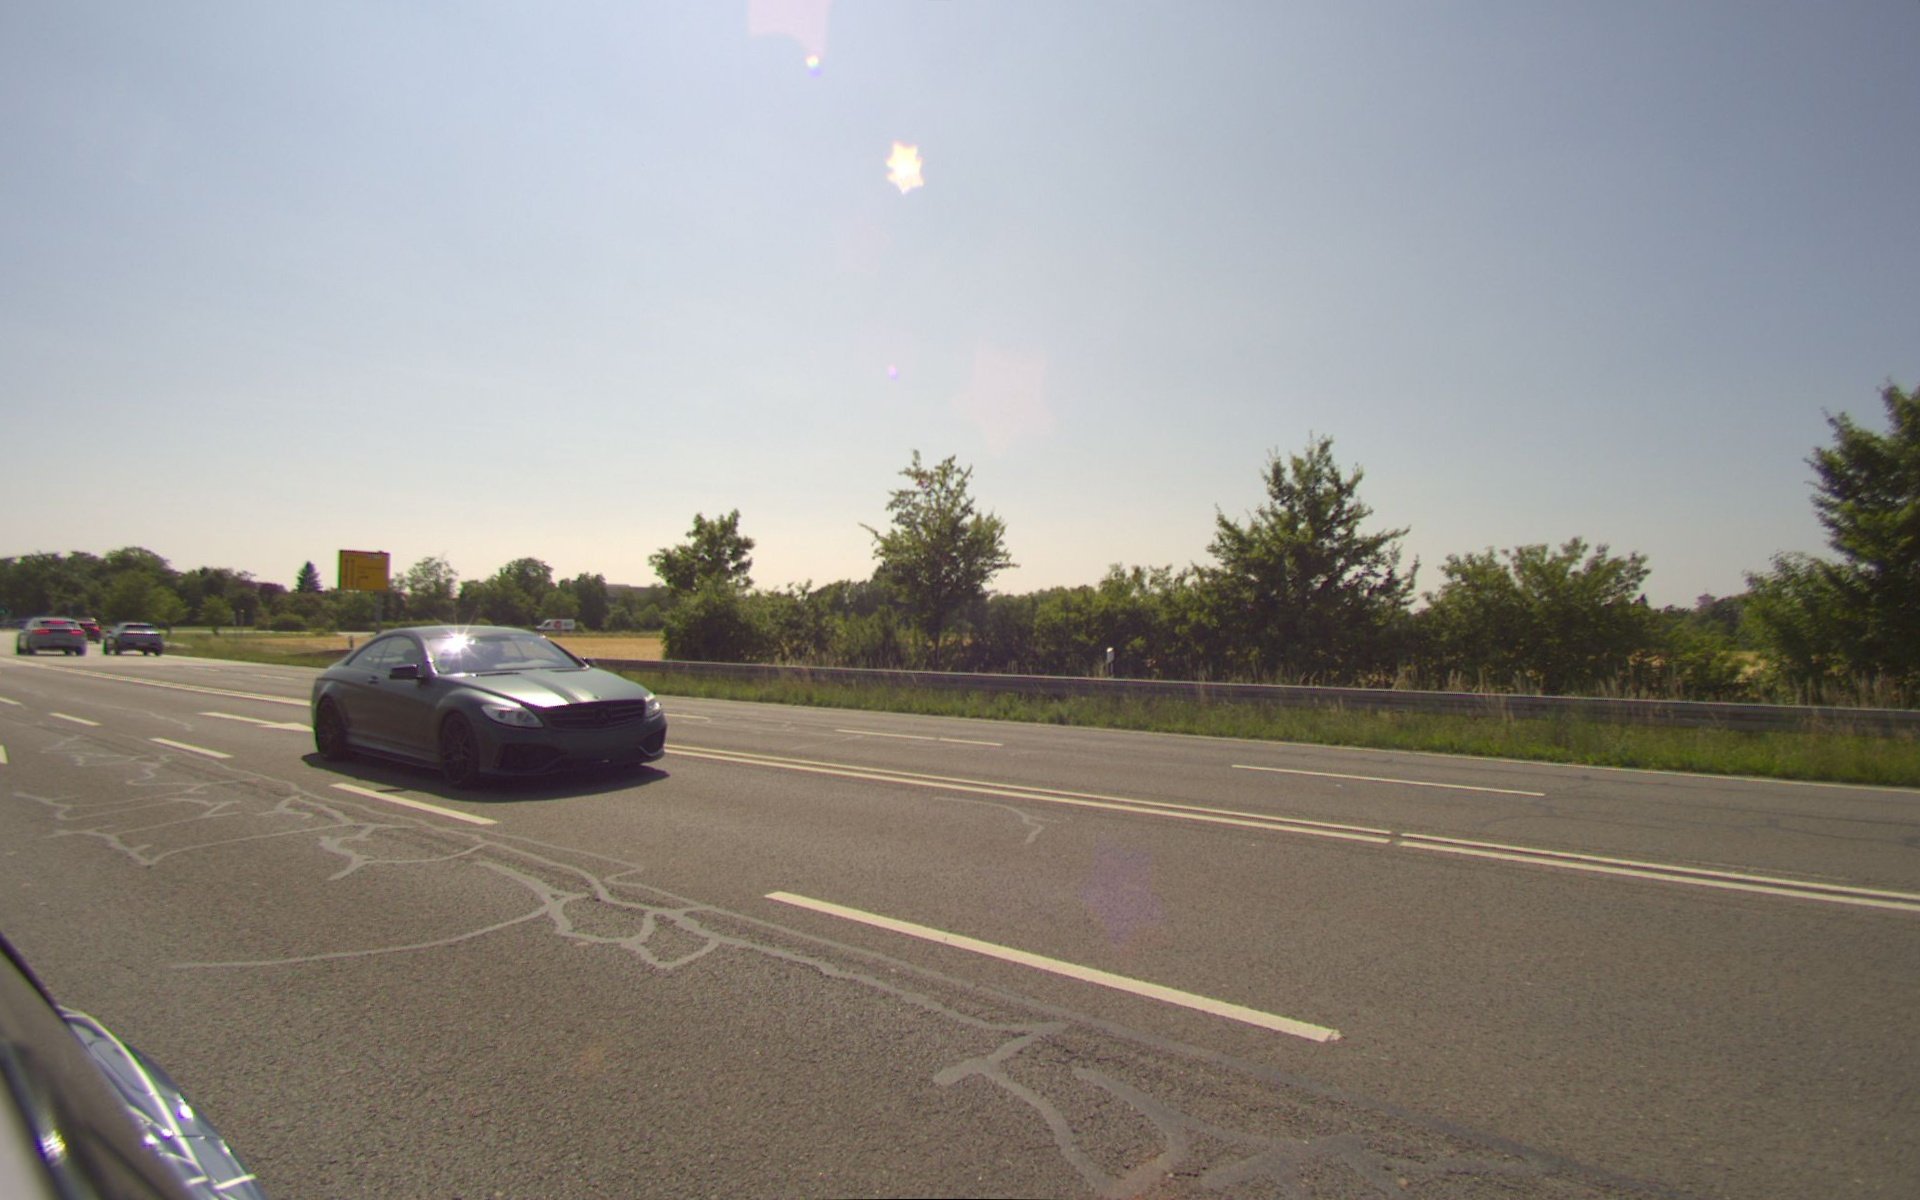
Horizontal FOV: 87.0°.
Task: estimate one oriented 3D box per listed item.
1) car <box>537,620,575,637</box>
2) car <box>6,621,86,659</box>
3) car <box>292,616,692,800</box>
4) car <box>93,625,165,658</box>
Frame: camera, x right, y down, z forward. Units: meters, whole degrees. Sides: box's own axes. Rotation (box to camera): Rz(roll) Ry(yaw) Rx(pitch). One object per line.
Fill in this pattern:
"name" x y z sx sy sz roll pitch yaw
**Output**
"car" -74.221 5.222 186.044 6.285 2.931 2.002 0 0 -43
"car" -40.780 1.769 45.118 4.870 1.599 1.822 -1 -5 39
"car" -4.968 0.904 10.375 4.872 1.461 1.793 -1 -1 39
"car" -39.885 1.990 48.553 4.122 1.519 1.802 -1 -4 39
